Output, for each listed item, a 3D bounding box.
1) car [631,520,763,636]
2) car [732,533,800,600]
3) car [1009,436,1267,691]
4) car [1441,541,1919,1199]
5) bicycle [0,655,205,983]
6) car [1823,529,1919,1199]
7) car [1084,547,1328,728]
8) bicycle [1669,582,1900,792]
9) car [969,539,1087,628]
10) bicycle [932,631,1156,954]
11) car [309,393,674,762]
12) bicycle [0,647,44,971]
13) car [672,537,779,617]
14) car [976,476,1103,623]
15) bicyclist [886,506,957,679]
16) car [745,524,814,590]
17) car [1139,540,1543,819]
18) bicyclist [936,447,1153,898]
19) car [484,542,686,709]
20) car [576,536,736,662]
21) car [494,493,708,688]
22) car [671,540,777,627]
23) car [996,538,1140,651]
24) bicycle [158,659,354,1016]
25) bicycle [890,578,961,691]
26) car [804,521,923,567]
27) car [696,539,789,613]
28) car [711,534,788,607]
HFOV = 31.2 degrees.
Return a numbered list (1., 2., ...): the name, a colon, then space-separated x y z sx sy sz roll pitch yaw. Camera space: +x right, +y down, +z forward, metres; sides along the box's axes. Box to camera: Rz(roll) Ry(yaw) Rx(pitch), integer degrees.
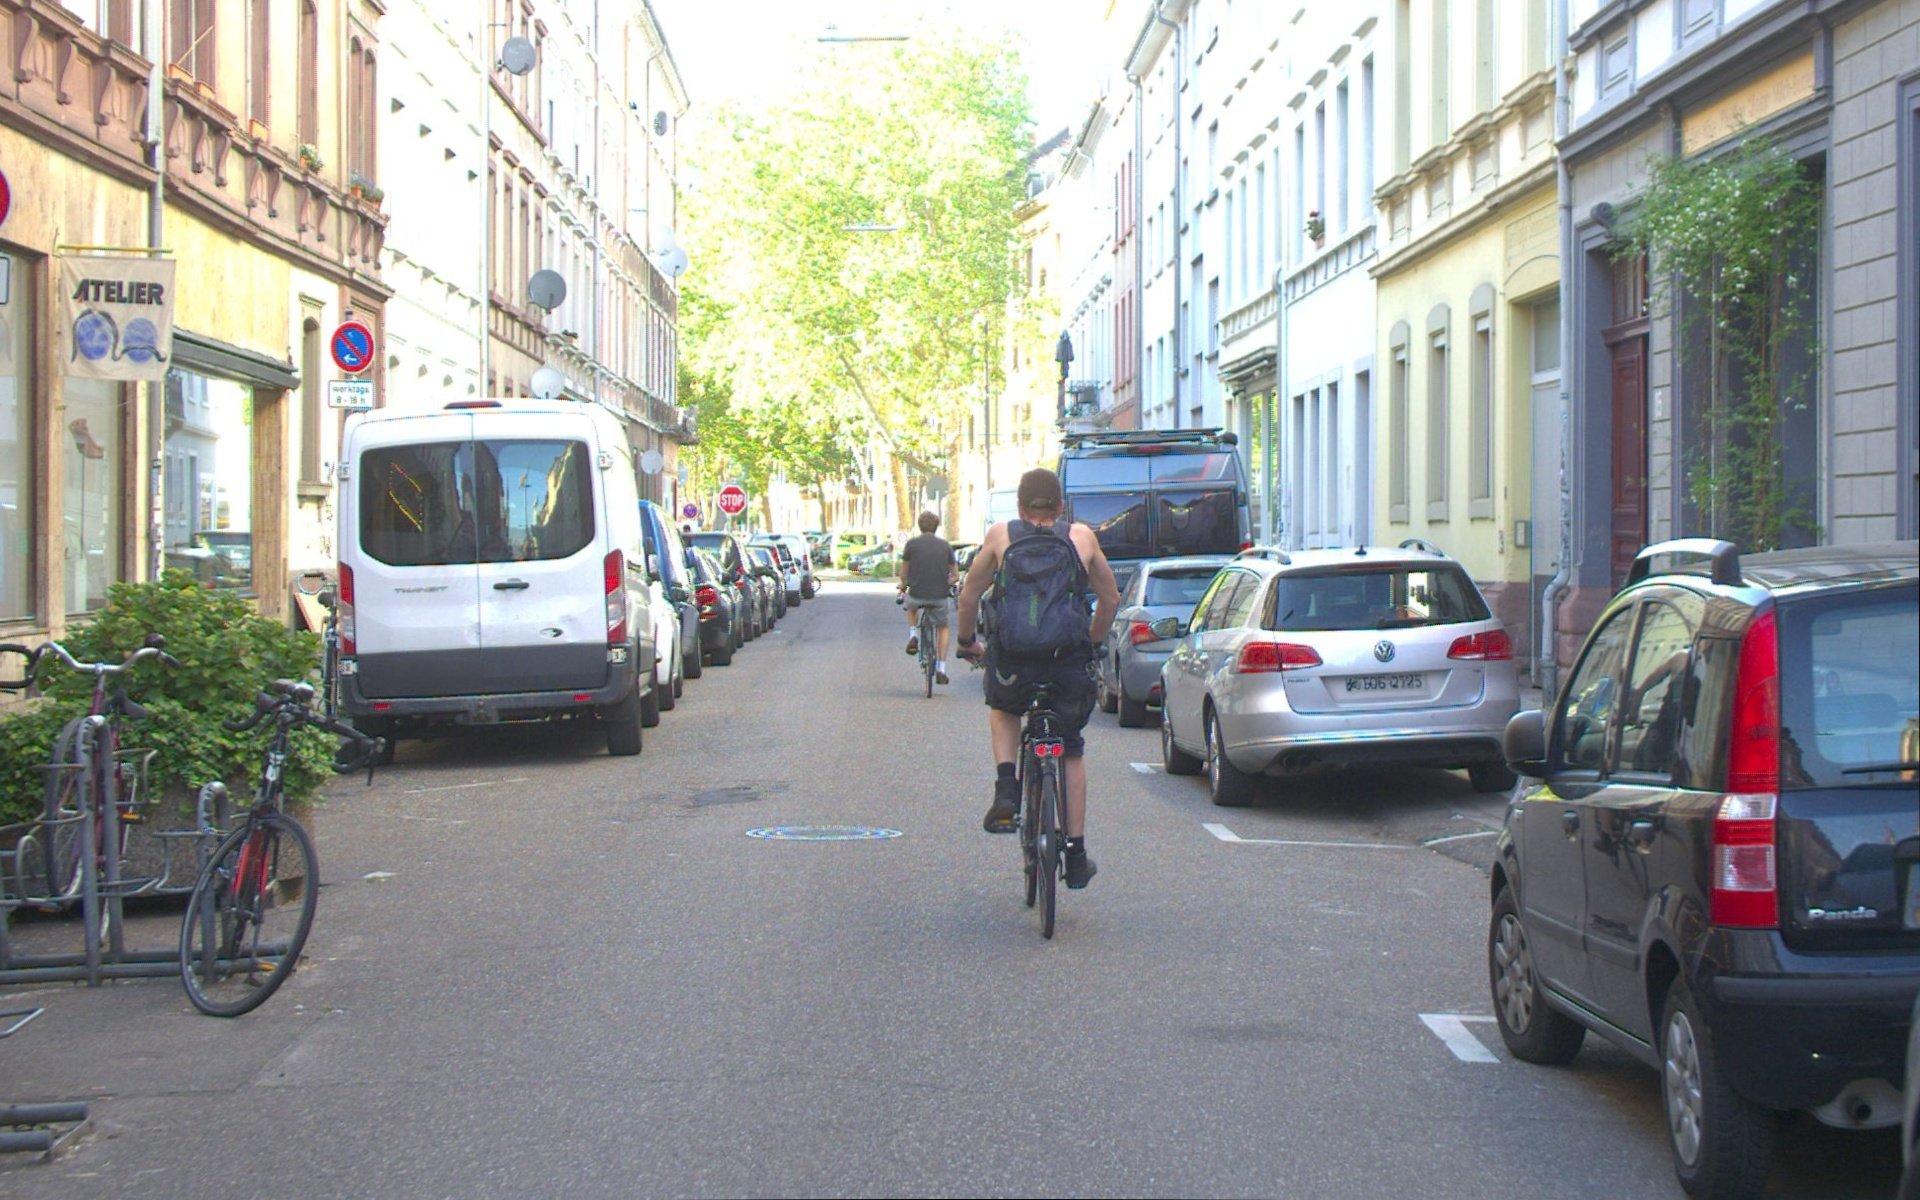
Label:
1. car: -4.129 -0.373 54.500 1.801 1.692 4.000 -2 1 -1
2. car: -4.642 -0.819 81.845 1.544 1.545 3.466 0 1 -4
3. car: 1.772 -0.420 36.429 2.175 2.417 6.310 -1 1 -2
4. car: 2.365 0.641 9.199 1.602 1.534 3.450 -2 1 0
5. bicycle: -3.147 0.766 12.690 0.442 1.044 1.865 2 1 -5
6. car: 2.510 0.687 4.385 1.746 1.550 4.172 0 1 0
7. car: 2.084 0.275 30.156 1.747 1.439 4.172 0 1 -1
8. bicycle: 4.653 0.465 19.526 0.710 1.093 1.901 -3 1 -4
9. car: 1.111 -0.298 57.530 1.725 1.424 3.833 0 1 -3
10. bicycle: 0.295 0.710 13.511 0.740 1.097 2.042 2 1 -2
11. car: -3.403 -0.211 26.138 2.168 2.443 5.922 -1 1 -3
12. bicycle: -3.734 0.785 12.652 0.399 1.169 1.670 2 1 -5
13. car: -4.369 -0.454 64.454 1.674 1.425 3.888 0 1 1
14. car: 1.432 -0.942 62.969 2.204 2.542 6.036 0 1 1
15. bicyclist: -0.375 -0.079 33.333 0.669 1.653 0.877 0 1 -1
16. car: -4.917 -1.191 94.041 1.787 1.731 3.876 0 1 -2
17. car: 2.231 0.402 21.316 1.786 1.449 4.548 -3 1 -2
18. bicyclist: 0.313 0.264 13.469 0.740 1.673 1.117 2 1 -2
19. car: -3.456 0.190 32.201 1.645 1.442 3.840 0 1 -3
20. car: -3.793 -0.055 43.485 1.861 1.435 4.646 0 2 -3
21. car: -3.767 -0.140 36.788 1.827 1.885 4.614 -2 1 -1
22. car: -4.054 -0.306 59.483 1.592 1.435 3.654 0 1 0
23. car: 1.454 -0.110 47.699 1.746 1.480 4.243 0 1 -1
24. bicycle: -2.405 0.761 11.637 0.460 1.044 1.751 1 1 -17
25. bicycle: -0.348 0.323 33.489 0.664 1.034 1.959 0 1 -1
26. car: -3.751 -2.175 133.084 4.468 1.753 1.867 0 1 -5
27. car: -4.370 -0.508 69.515 1.706 1.409 4.302 0 1 -1
28. car: -4.544 -0.659 74.471 1.604 1.525 3.379 -1 1 -3
